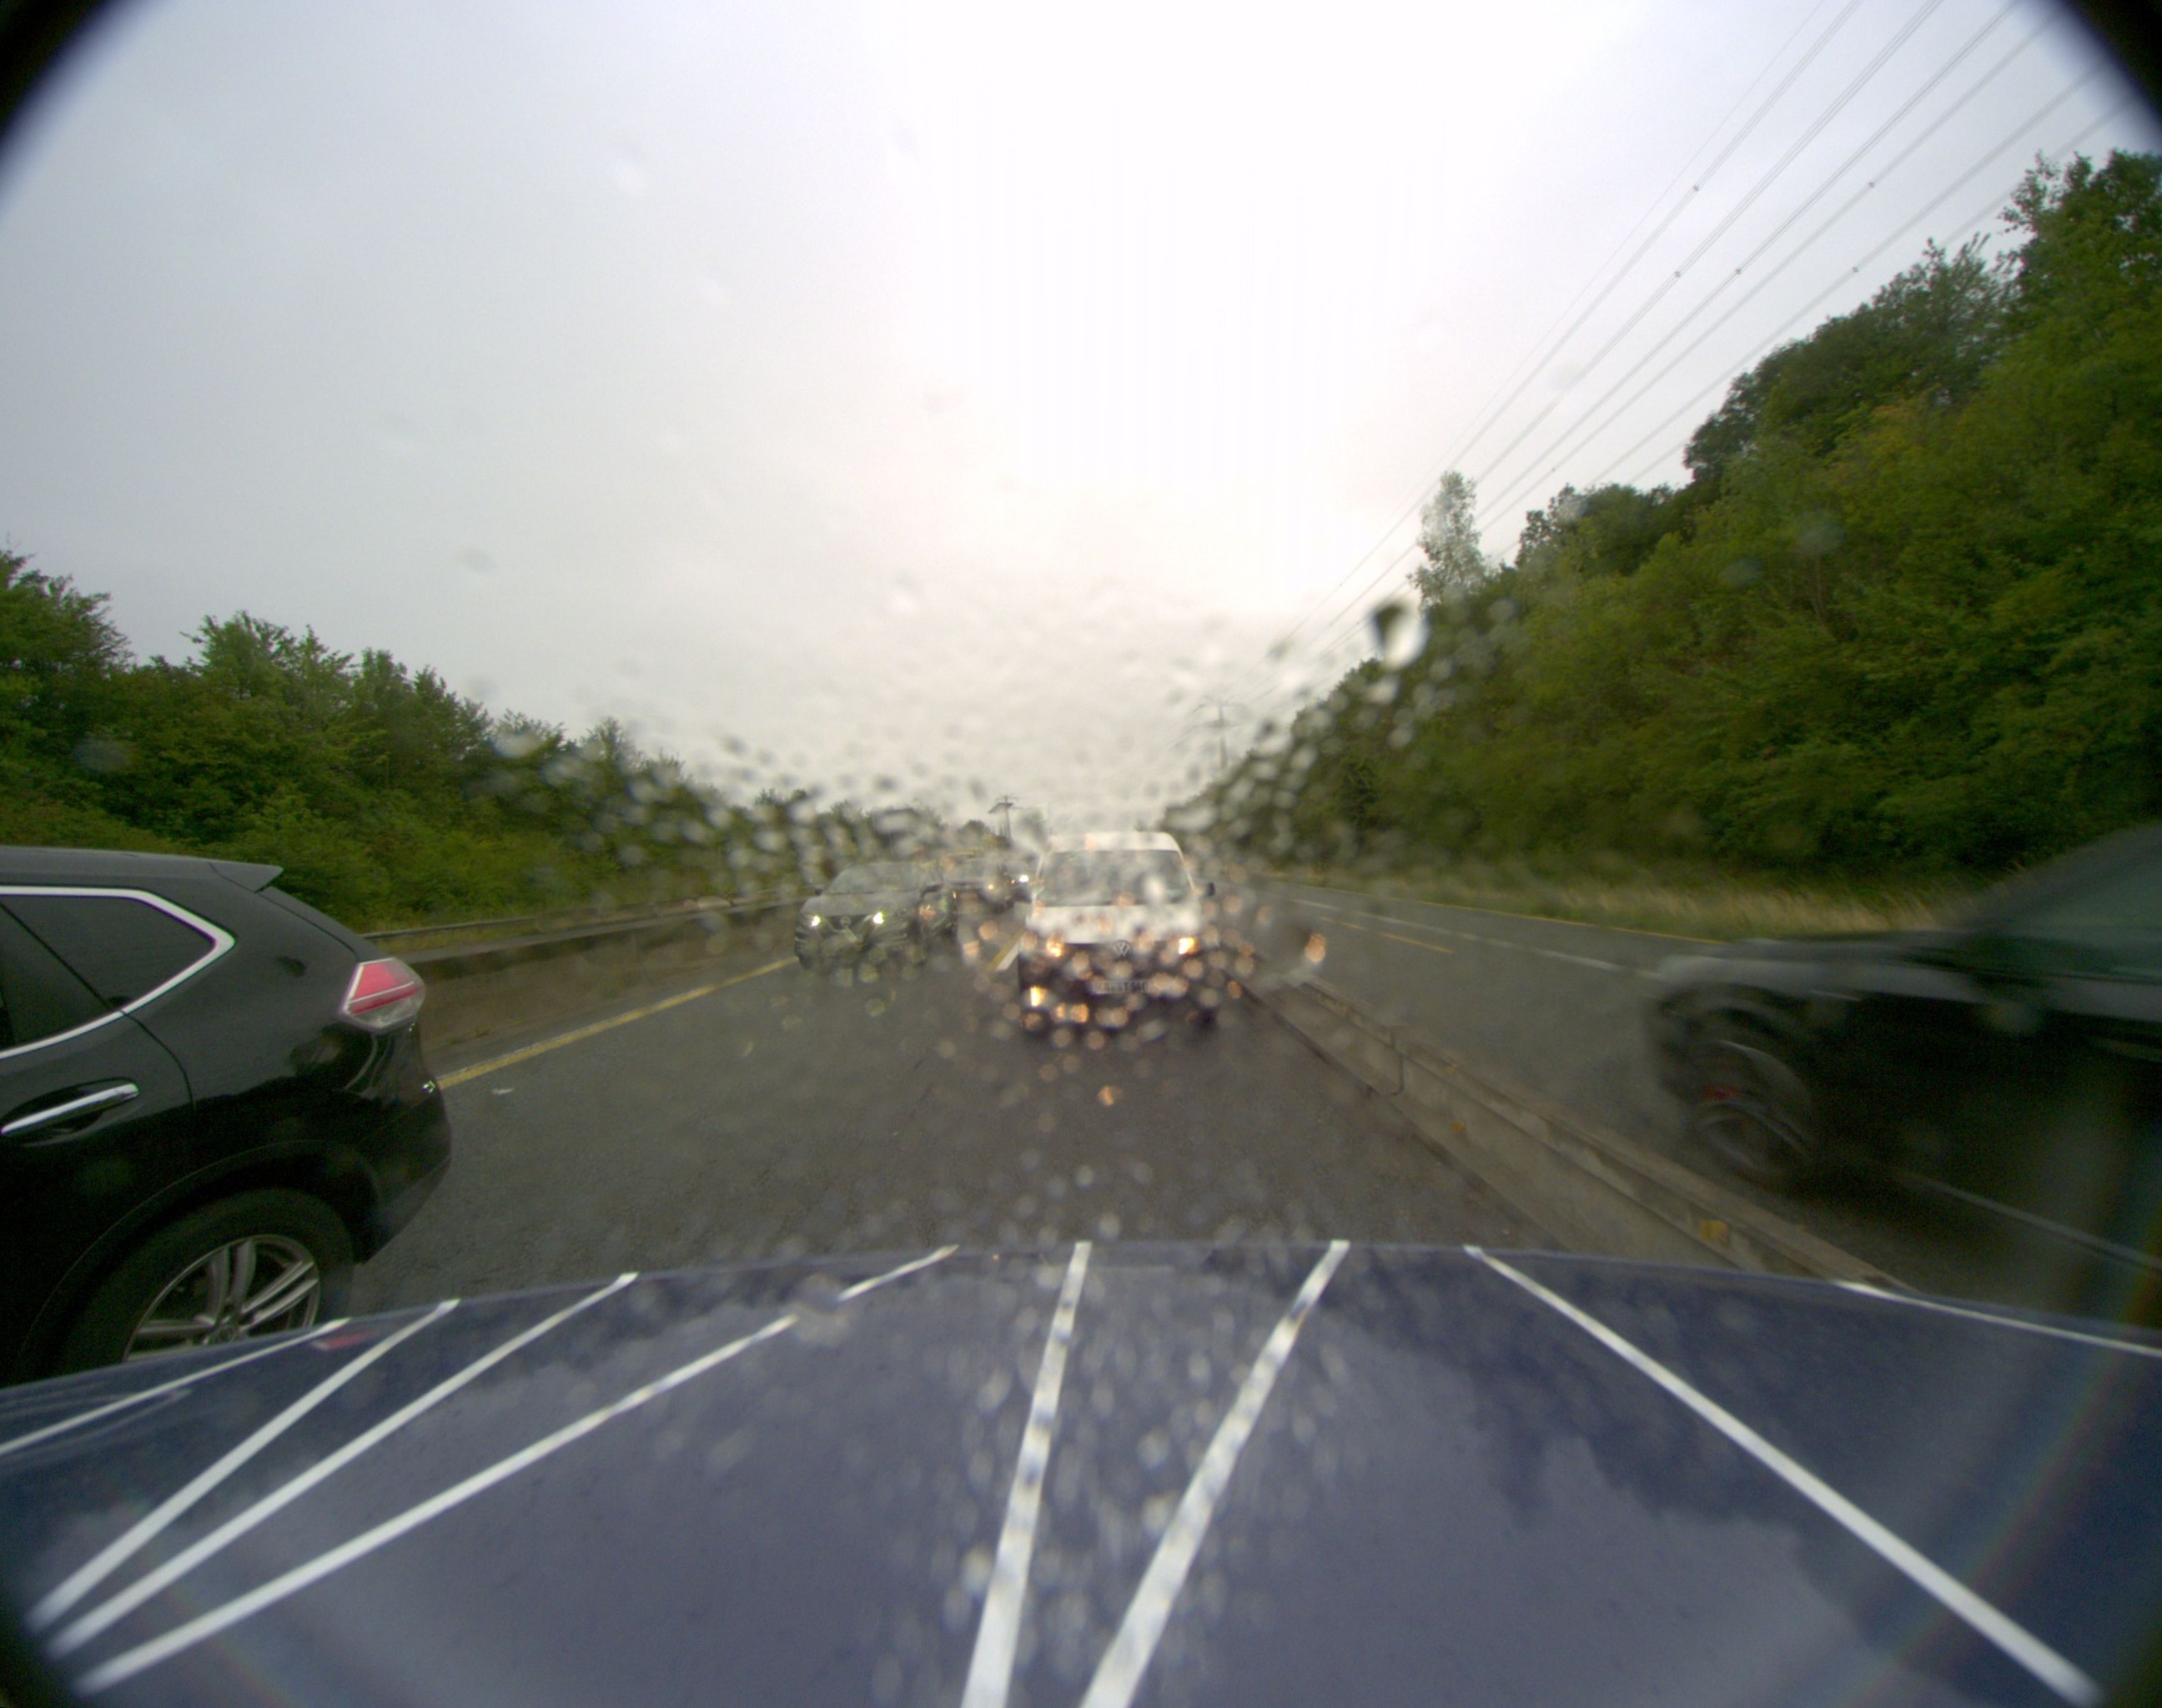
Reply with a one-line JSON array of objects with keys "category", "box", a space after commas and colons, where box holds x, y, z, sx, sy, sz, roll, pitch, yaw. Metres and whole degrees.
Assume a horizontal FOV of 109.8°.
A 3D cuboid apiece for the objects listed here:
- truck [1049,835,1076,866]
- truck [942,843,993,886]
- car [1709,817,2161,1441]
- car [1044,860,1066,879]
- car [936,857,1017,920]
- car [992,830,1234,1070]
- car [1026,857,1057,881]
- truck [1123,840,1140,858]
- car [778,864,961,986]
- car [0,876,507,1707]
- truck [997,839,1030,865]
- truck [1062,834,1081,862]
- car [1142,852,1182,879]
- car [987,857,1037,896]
[{"category": "truck", "box": [-2.081, -0.403, 90.790, 2.619, 3.404, 9.575, -2, 1, 2]}, {"category": "truck", "box": [-9.703, 0.774, 66.037, 2.619, 3.404, 9.575, -2, 1, 2]}, {"category": "car", "box": [3.732, 0.695, 1.292, 1.940, 1.598, 4.119, -2, 1, 1]}, {"category": "car", "box": [-2.222, 1.324, 65.556, 1.784, 1.482, 4.123, -2, 1, 0]}, {"category": "car", "box": [-2.998, 0.939, 22.547, 1.784, 1.589, 4.123, -2, 1, 0]}, {"category": "car", "box": [0.241, 0.712, 8.148, 1.784, 1.775, 4.697, -2, 1, 0]}, {"category": "car", "box": [-2.609, 0.978, 51.067, 1.784, 1.482, 4.123, -2, 1, 0]}, {"category": "truck", "box": [9.703, -0.992, 145.614, 2.541, 3.333, 12.049, -2, 1, 1]}, {"category": "car", "box": [-3.180, 0.989, 12.341, 1.784, 1.482, 4.123, -2, 1, 0]}, {"category": "car", "box": [-3.147, 0.972, 0.542, 1.894, 1.665, 4.640, -2, 1, 0]}, {"category": "truck", "box": [-9.236, -0.317, 105.687, 3.329, 3.404, 9.575, -2, 1, 2]}, {"category": "truck", "box": [-1.379, -0.922, 113.315, 2.619, 3.869, 9.574, -2, 1, 0]}, {"category": "car", "box": [4.691, 0.629, 44.579, 1.784, 1.435, 4.327, -2, 1, 0]}, {"category": "car", "box": [-2.949, 0.926, 33.322, 1.784, 1.482, 4.123, -2, 1, 0]}]
